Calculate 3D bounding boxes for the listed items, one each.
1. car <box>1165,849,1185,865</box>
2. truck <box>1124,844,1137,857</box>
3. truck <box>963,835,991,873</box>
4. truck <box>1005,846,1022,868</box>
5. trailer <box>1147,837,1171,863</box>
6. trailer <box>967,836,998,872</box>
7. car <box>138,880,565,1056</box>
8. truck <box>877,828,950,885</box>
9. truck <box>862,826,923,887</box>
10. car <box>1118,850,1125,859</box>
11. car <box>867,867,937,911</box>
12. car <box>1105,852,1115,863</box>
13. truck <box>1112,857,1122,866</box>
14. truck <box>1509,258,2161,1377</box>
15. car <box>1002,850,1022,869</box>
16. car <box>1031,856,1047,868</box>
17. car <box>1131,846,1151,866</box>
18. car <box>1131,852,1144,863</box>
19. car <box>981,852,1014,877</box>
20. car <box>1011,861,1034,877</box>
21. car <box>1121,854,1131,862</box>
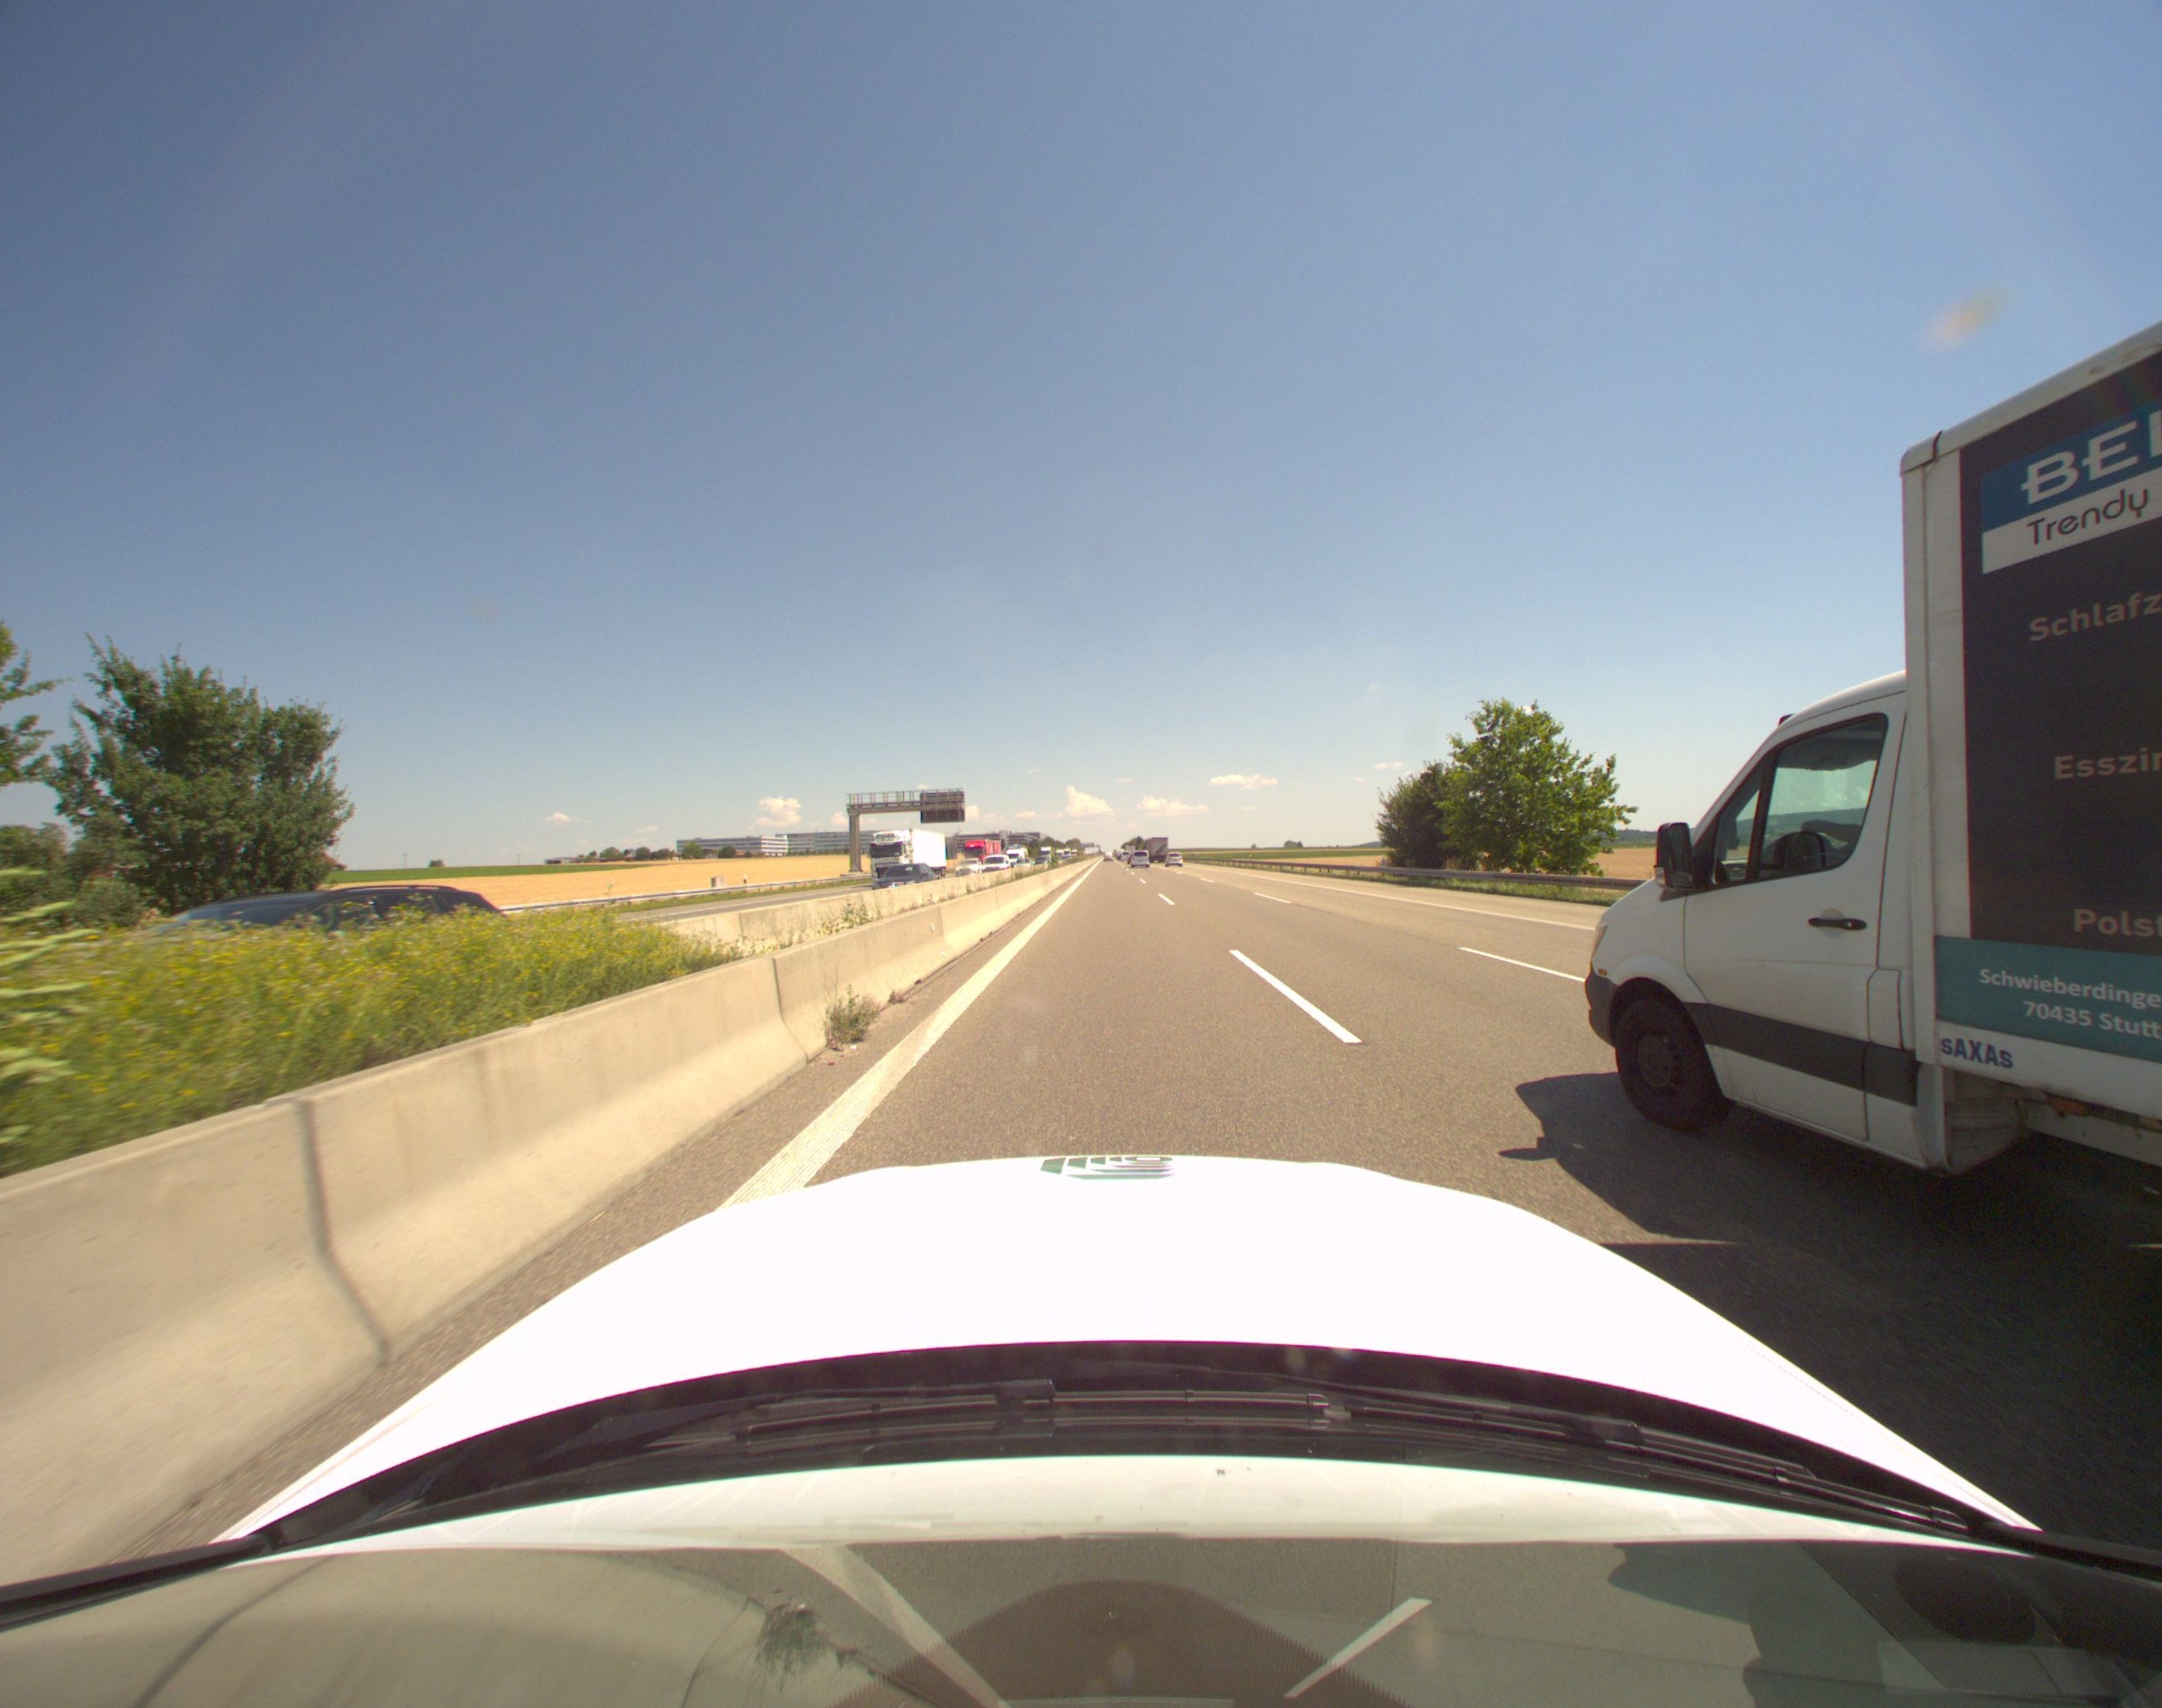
[{"bbox_3d":[10.878,0.399,94.582,1.986,1.794,4.001,-1,-1,2],"label":"car"},{"bbox_3d":[15.513,-1.138,256.997,3.802,3.905,9.583,-2,0,2],"label":"truck"},{"bbox_3d":[-13.050,0.027,102.505,2.766,4.598,4.724,-2,0,1],"label":"truck"},{"bbox_3d":[-11.688,0.462,141.216,2.102,3.600,7.122,-2,0,1],"label":"truck"},{"bbox_3d":[12.815,-0.650,134.044,3.265,3.967,9.115,-1,-1,2],"label":"trailer"},{"bbox_3d":[-12.954,0.012,108.033,2.766,4.598,8.603,-2,0,1],"label":"trailer"},{"bbox_3d":[-8.061,1.133,9.553,1.534,1.487,3.774,-2,0,1],"label":"car"},{"bbox_3d":[-13.710,0.203,68.161,2.939,4.158,12.870,-3,0,1],"label":"truck"},{"bbox_3d":[-13.902,0.205,60.439,2.939,4.158,5.473,-3,0,1],"label":"truck"},{"bbox_3d":[11.006,0.098,219.937,1.766,2.392,4.001,-1,-1,2],"label":"car"},{"bbox_3d":[-6.937,1.331,32.056,1.667,1.487,4.398,-2,0,1],"label":"car"},{"bbox_3d":[5.899,0.702,163.686,1.986,2.014,4.001,-1,-1,2],"label":"car"},{"bbox_3d":[8.191,1.635,186.431,2.204,2.013,4.972,-2,0,1],"label":"truck"},{"bbox_3d":[4.121,-0.103,2.360,2.312,3.067,6.752,0,0,1],"label":"truck"},{"bbox_3d":[-8.751,0.661,103.705,1.853,2.336,5.708,-2,0,1],"label":"car"},{"bbox_3d":[-4.991,0.997,97.204,1.712,1.350,3.774,-2,0,1],"label":"car"},{"bbox_3d":[6.494,0.236,88.836,1.986,2.120,4.001,-1,-1,2],"label":"car"},{"bbox_3d":[8.321,0.541,119.813,1.766,1.447,4.001,-1,-1,2],"label":"car"},{"bbox_3d":[-6.217,0.773,60.844,1.810,1.753,4.994,-2,0,1],"label":"car"},{"bbox_3d":[-5.680,1.446,79.365,1.810,1.350,3.774,-2,0,1],"label":"car"},{"bbox_3d":[9.159,0.870,165.842,1.766,1.447,4.001,-1,-1,2],"label":"car"}]
